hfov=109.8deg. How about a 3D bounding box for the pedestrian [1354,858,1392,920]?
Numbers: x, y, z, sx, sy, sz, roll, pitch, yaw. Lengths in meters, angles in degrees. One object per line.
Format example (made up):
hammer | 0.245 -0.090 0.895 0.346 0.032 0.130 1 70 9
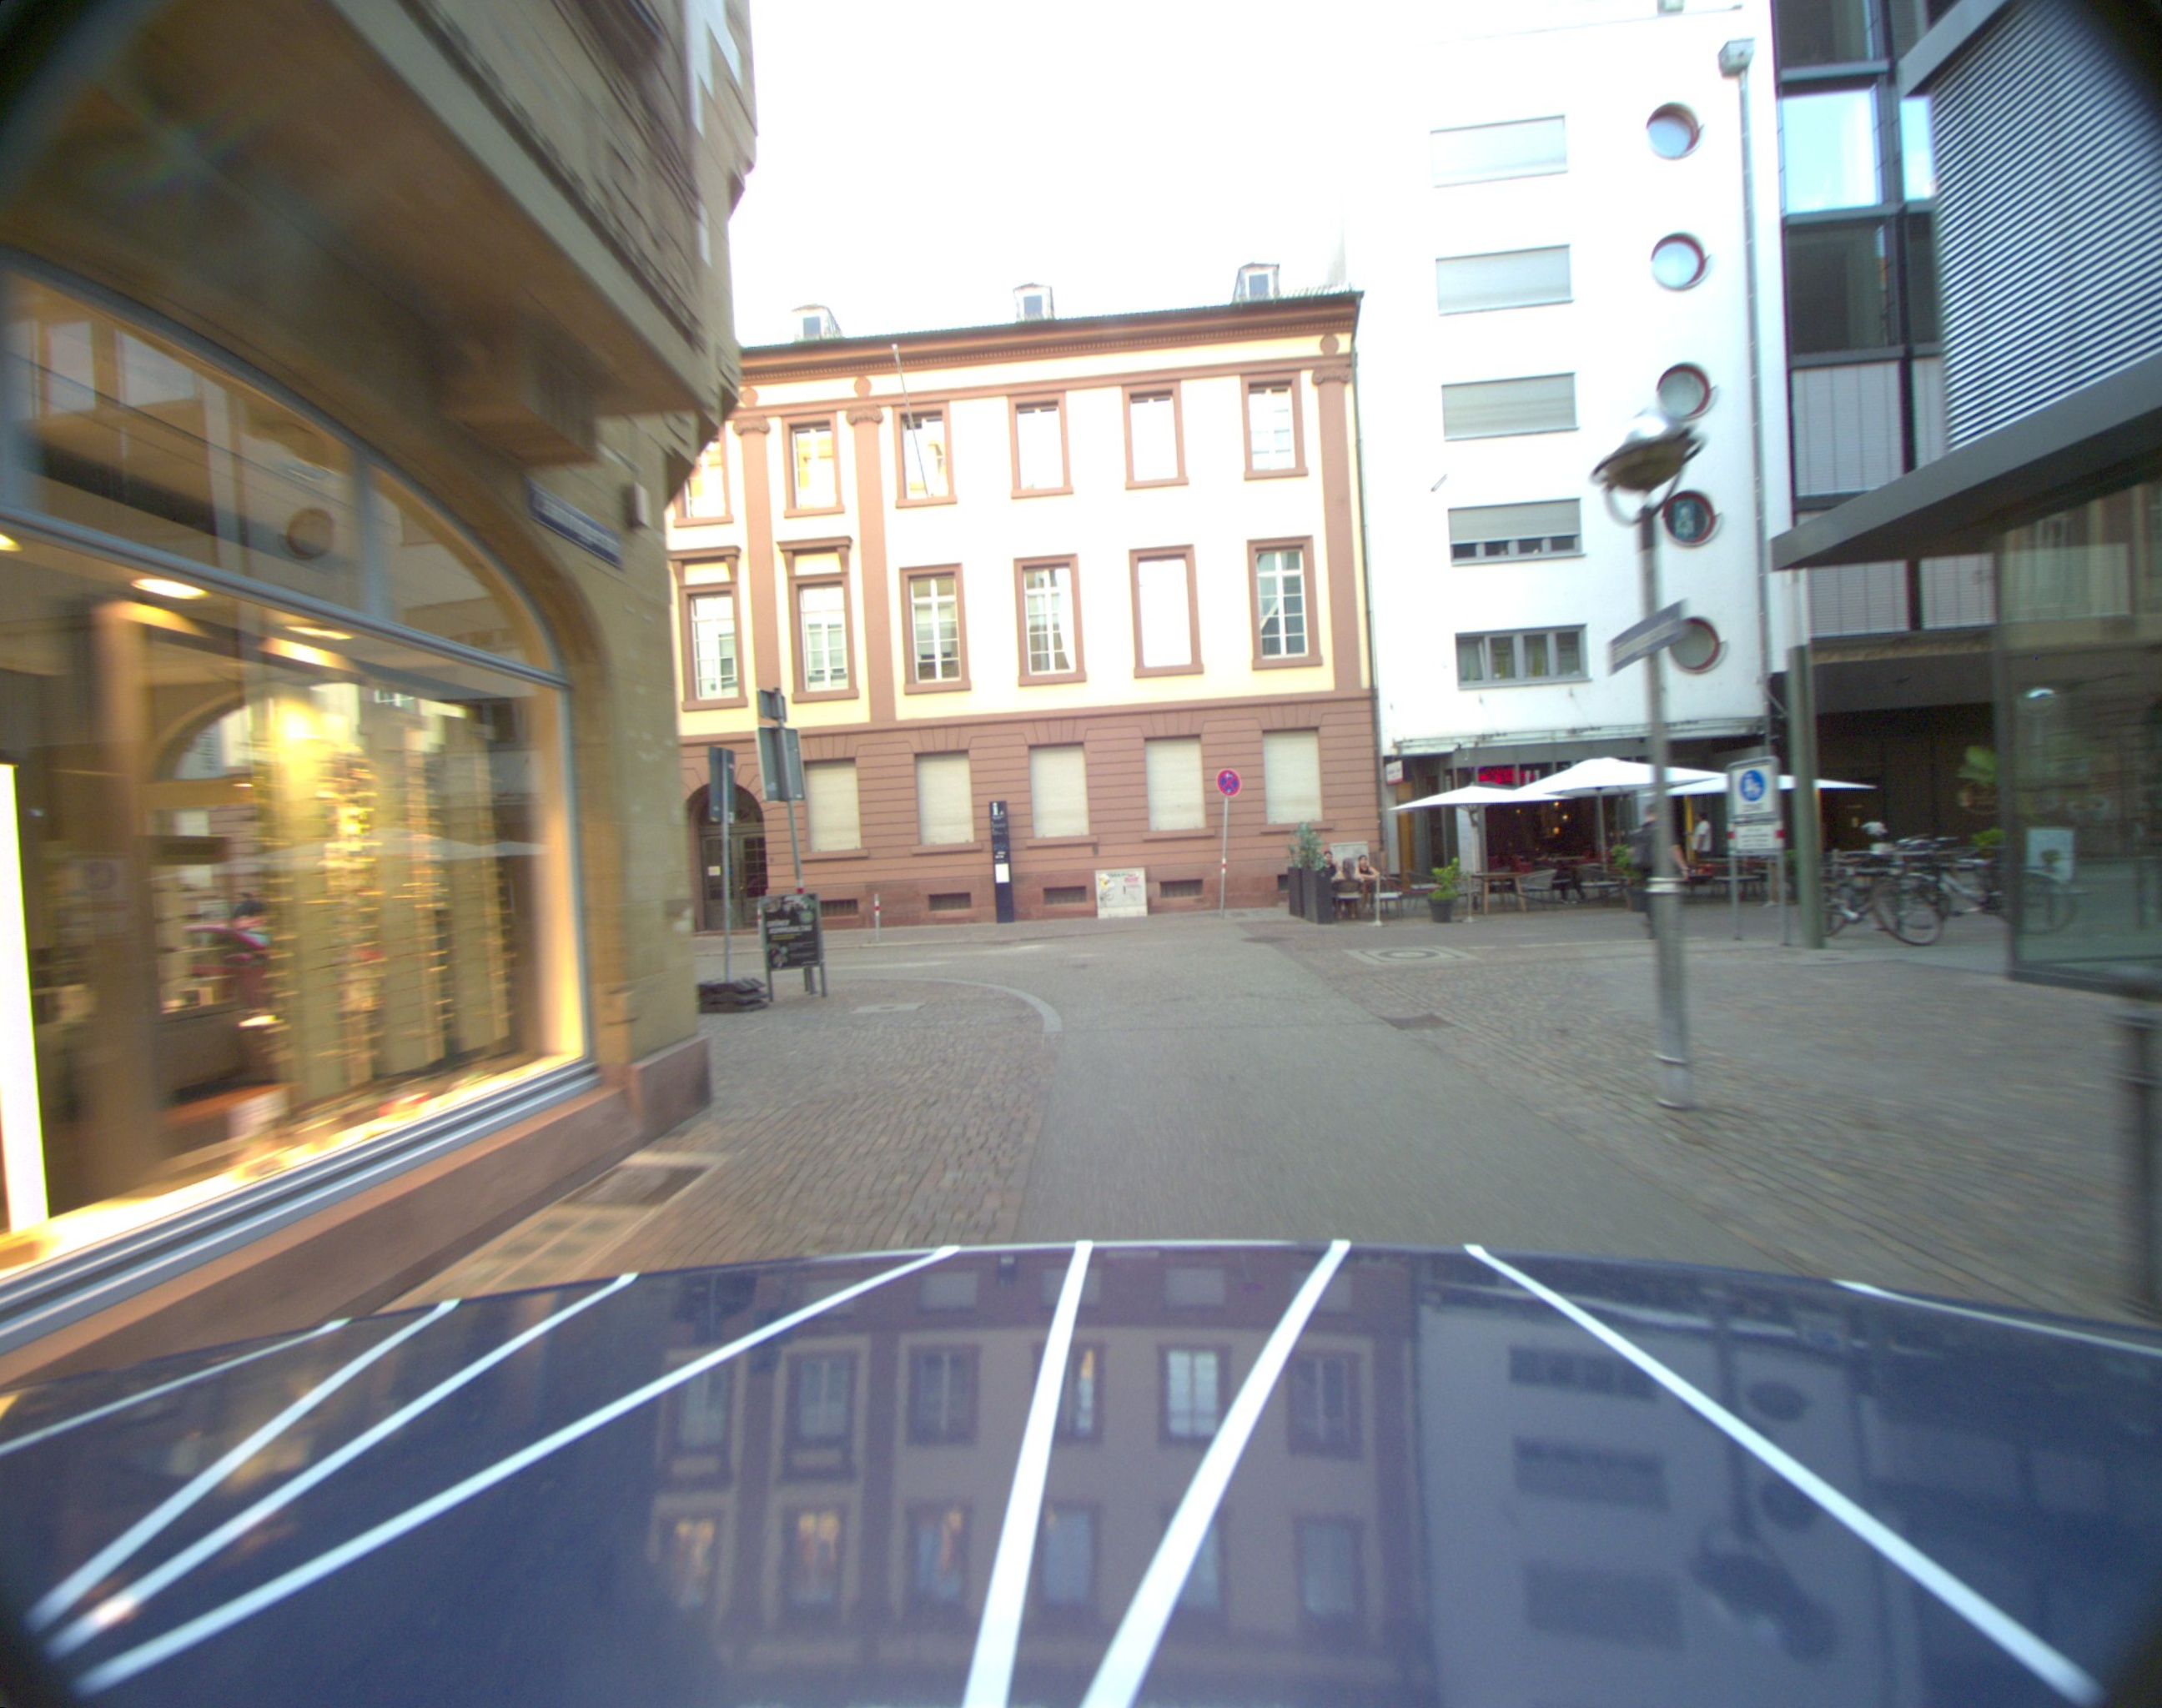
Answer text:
pedestrian | 5.905 0.701 15.371 0.548 1.204 0.524 -3 1 5

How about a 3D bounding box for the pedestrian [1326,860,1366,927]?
pedestrian | 4.949 0.730 14.219 0.561 1.204 0.461 -3 1 5

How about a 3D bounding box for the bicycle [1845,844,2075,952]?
bicycle | 10.513 0.500 9.209 0.609 1.143 1.842 -3 -1 2

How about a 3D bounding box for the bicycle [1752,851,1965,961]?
bicycle | 8.869 0.560 8.779 0.709 1.106 1.674 -3 -1 2

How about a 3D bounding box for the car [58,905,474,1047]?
car | -11.017 1.621 10.448 3.996 1.435 1.650 -3 3 4

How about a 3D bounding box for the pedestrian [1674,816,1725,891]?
pedestrian | 14.183 -0.016 17.415 0.671 1.656 0.623 -3 1 -25

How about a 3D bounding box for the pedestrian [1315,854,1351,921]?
pedestrian | 5.197 0.680 15.674 0.548 1.341 0.489 -3 1 5

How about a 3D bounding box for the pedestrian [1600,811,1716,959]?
pedestrian | 7.412 0.378 9.774 0.969 1.775 0.739 -3 1 -22
